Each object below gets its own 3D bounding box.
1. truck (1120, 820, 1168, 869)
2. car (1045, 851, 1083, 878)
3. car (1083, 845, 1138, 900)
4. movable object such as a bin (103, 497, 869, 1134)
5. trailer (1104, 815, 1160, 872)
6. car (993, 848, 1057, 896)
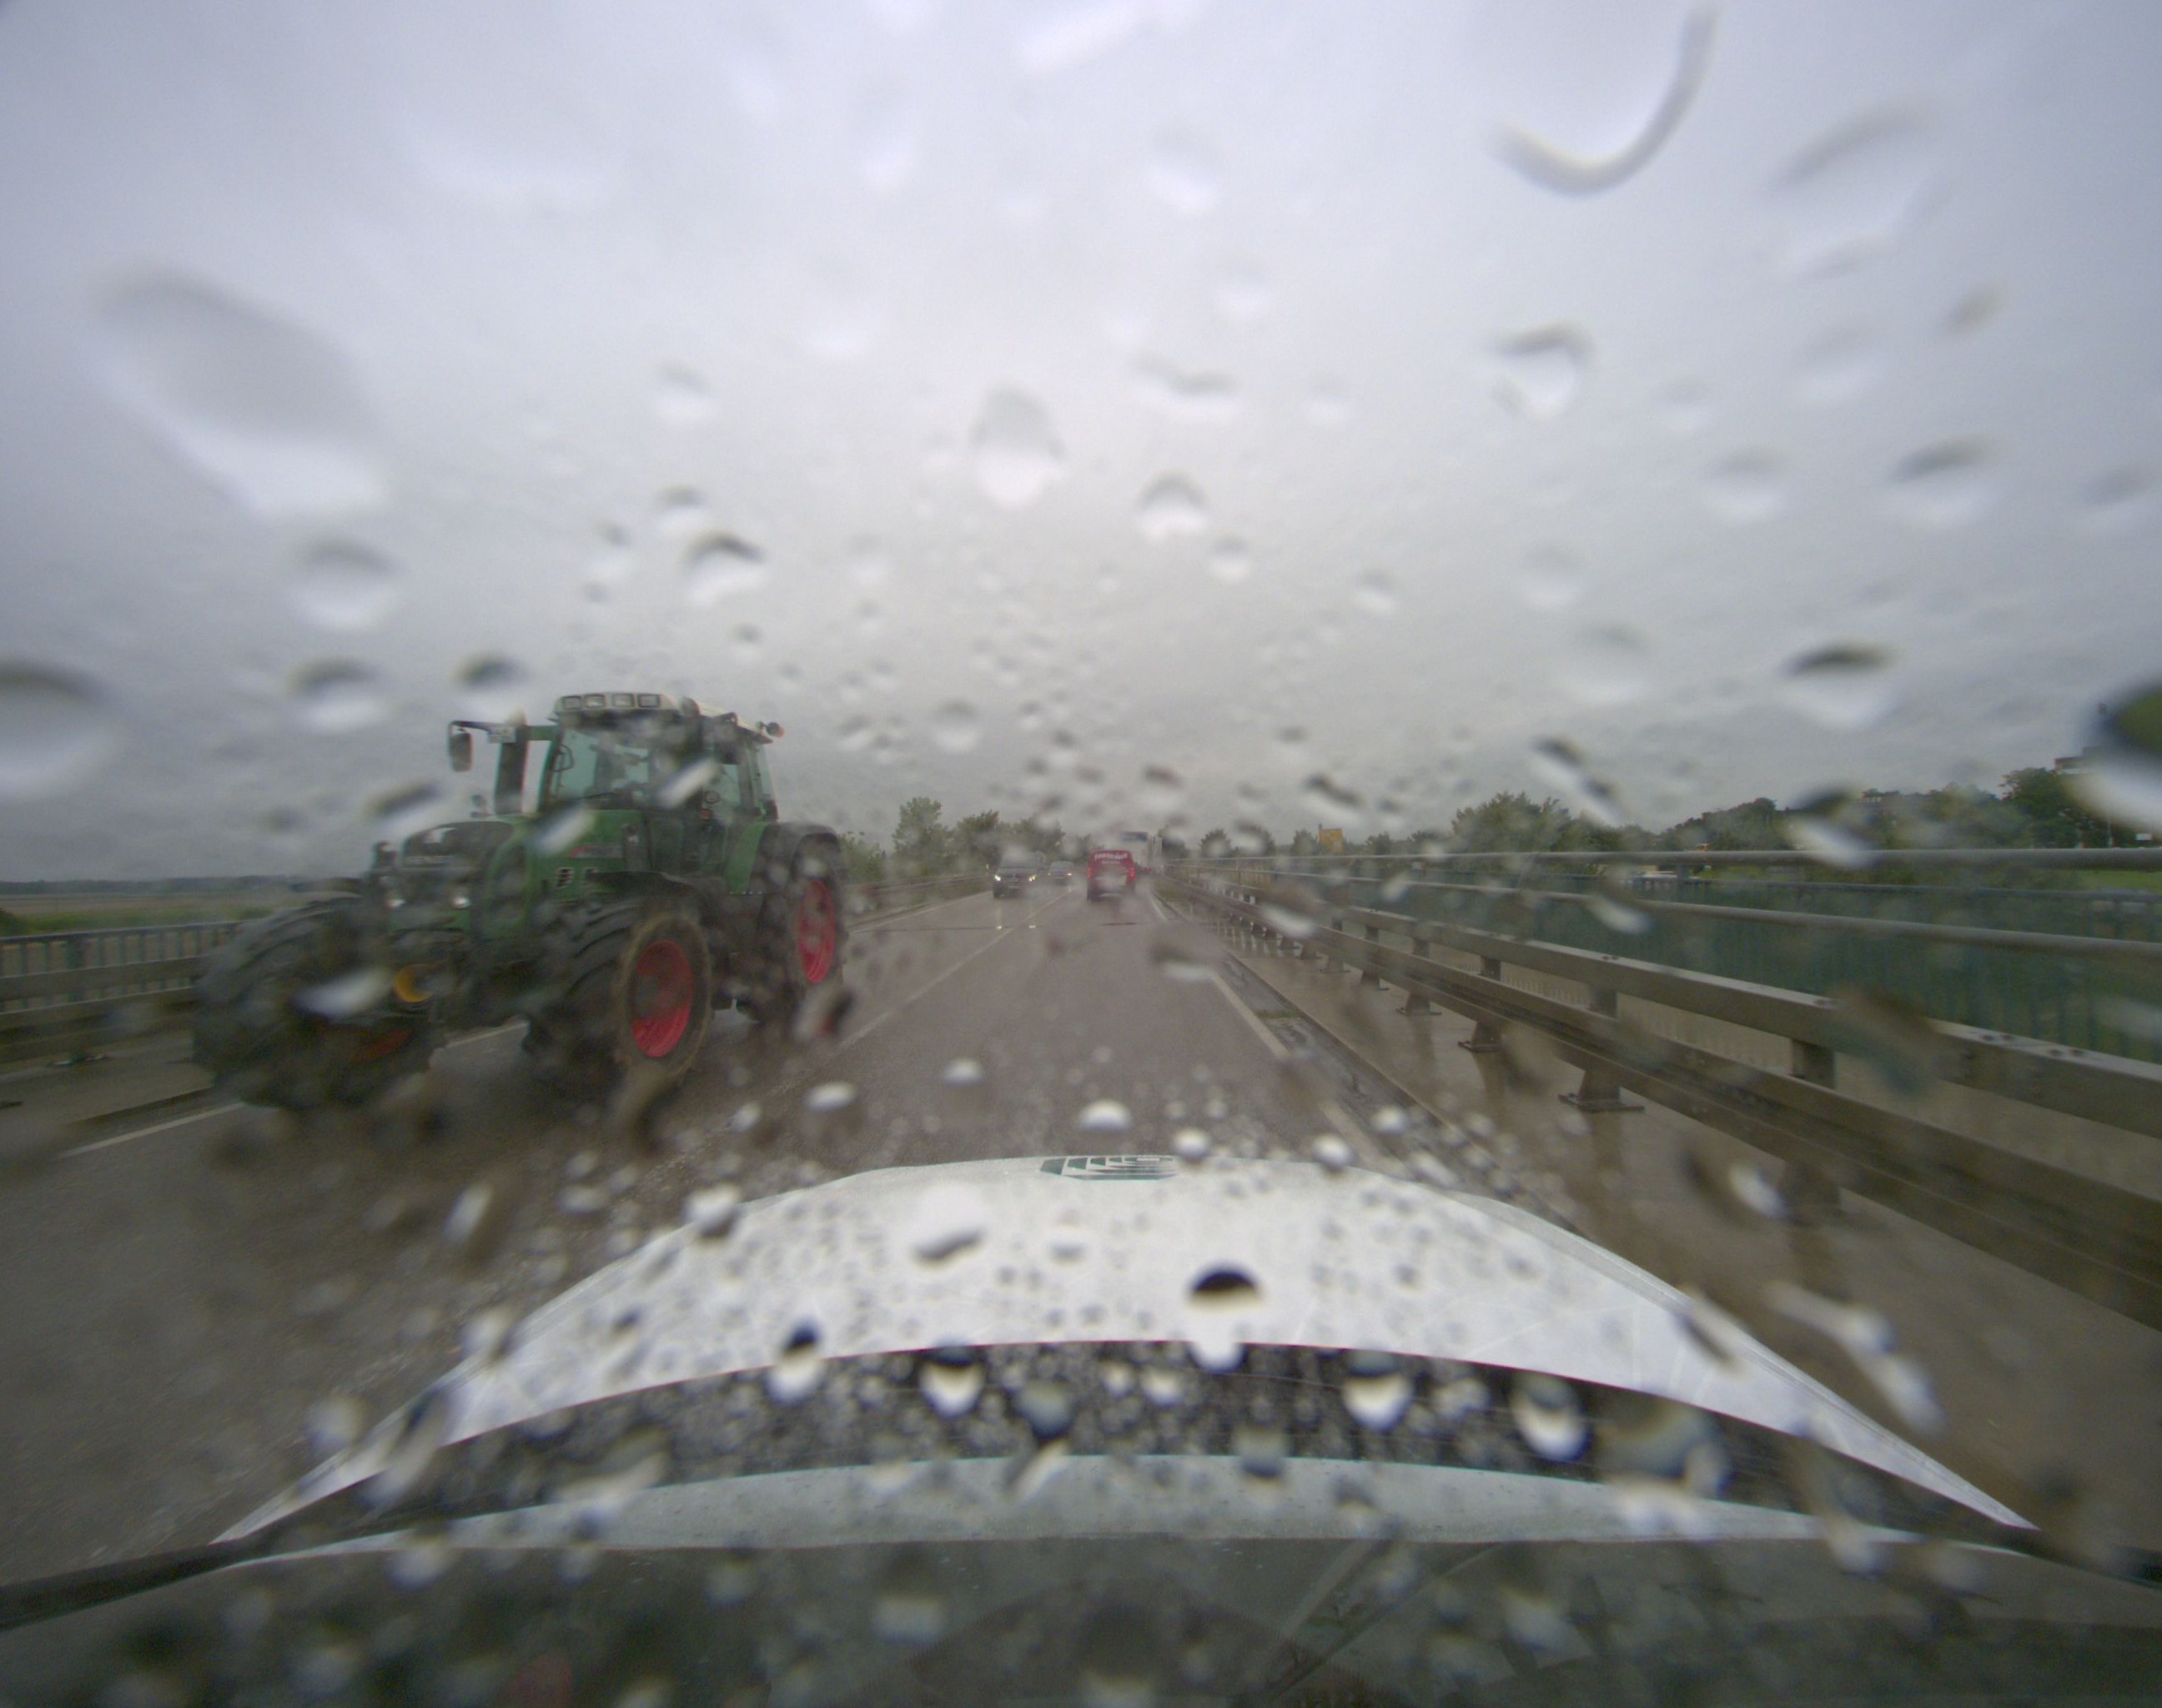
[{"bbox_3d":[5.509,-0.773,69.602,3.182,3.921,8.763,1,0,10],"label":"truck"},{"bbox_3d":[-1.013,0.648,50.802,1.830,1.537,4.075,-2,0,5],"label":"car"},{"bbox_3d":[1.131,0.656,31.956,1.986,1.925,4.145,0,1,1],"label":"car"},{"bbox_3d":[-3.933,-0.209,6.837,2.737,3.445,4.647,-2,0,3],"label":"movable object such as a bin"},{"bbox_3d":[3.958,-0.732,60.940,3.182,3.921,8.763,1,0,10],"label":"trailer"},{"bbox_3d":[-2.312,0.698,34.815,2.057,1.837,4.936,-2,0,3],"label":"car"}]
